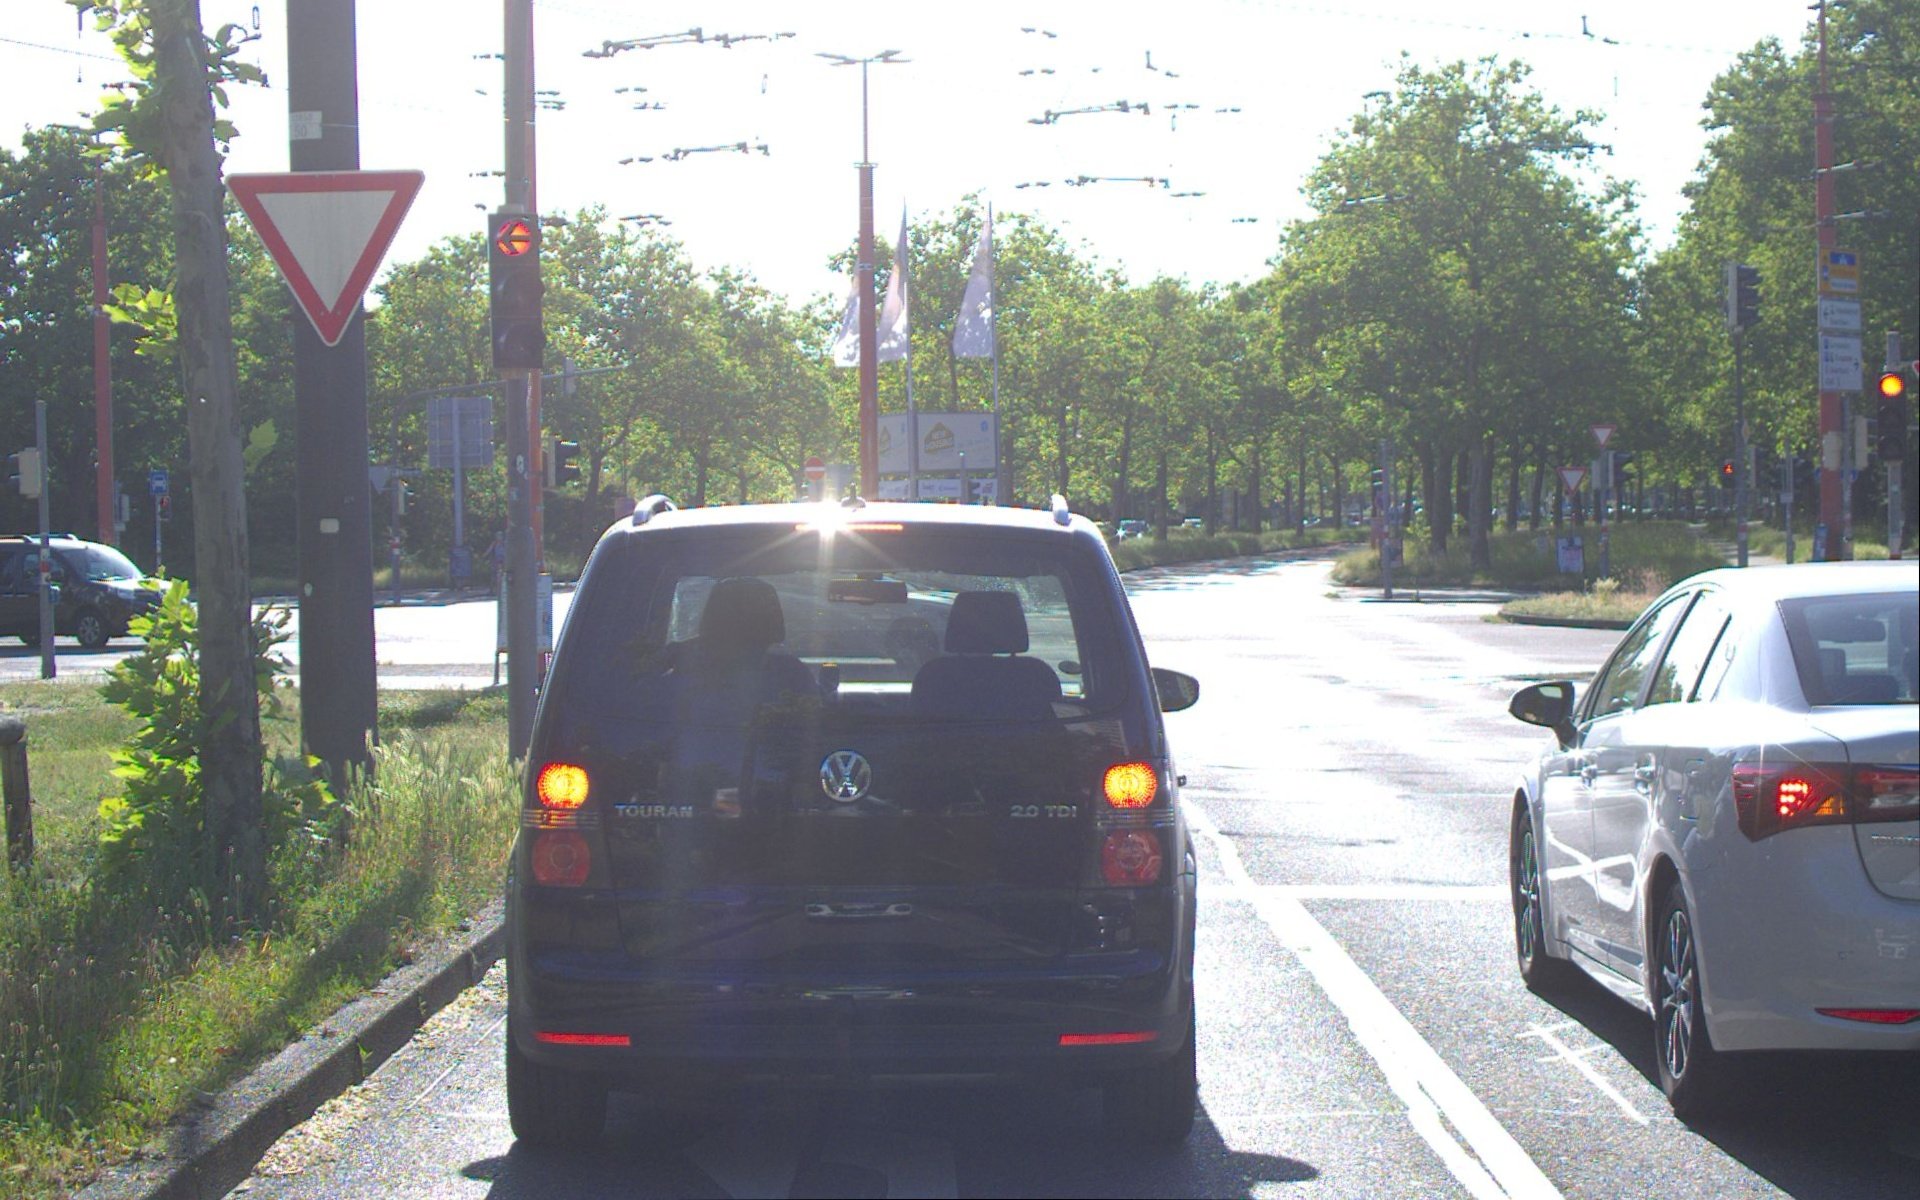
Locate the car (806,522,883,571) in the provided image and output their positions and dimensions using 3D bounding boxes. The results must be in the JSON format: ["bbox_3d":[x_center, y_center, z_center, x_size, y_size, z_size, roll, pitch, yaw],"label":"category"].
[{"bbox_3d":[-4.108,-1.922,123.039,1.994,1.679,4.827,0,1,7],"label":"car"}]

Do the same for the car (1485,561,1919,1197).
[{"bbox_3d":[2.690,0.628,10.076,1.715,1.449,4.144,0,1,1],"label":"car"}]

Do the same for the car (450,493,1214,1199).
[{"bbox_3d":[-0.313,0.545,9.875,1.737,1.635,4.000,0,1,-1],"label":"car"}]

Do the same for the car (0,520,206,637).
[{"bbox_3d":[-14.553,-0.370,56.373,4.793,1.829,1.909,1,1,44],"label":"car"}]

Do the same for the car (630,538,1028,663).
[{"bbox_3d":[-1.750,-0.014,45.294,4.922,1.569,1.997,0,1,29],"label":"car"}]

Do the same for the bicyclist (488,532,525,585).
[{"bbox_3d":[-12.482,-1.155,94.628,0.693,1.452,0.874,0,1,18],"label":"bicyclist"}]

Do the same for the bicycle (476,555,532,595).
[{"bbox_3d":[-12.513,-0.687,94.416,0.735,1.086,1.959,0,1,18],"label":"bicycle"}]
